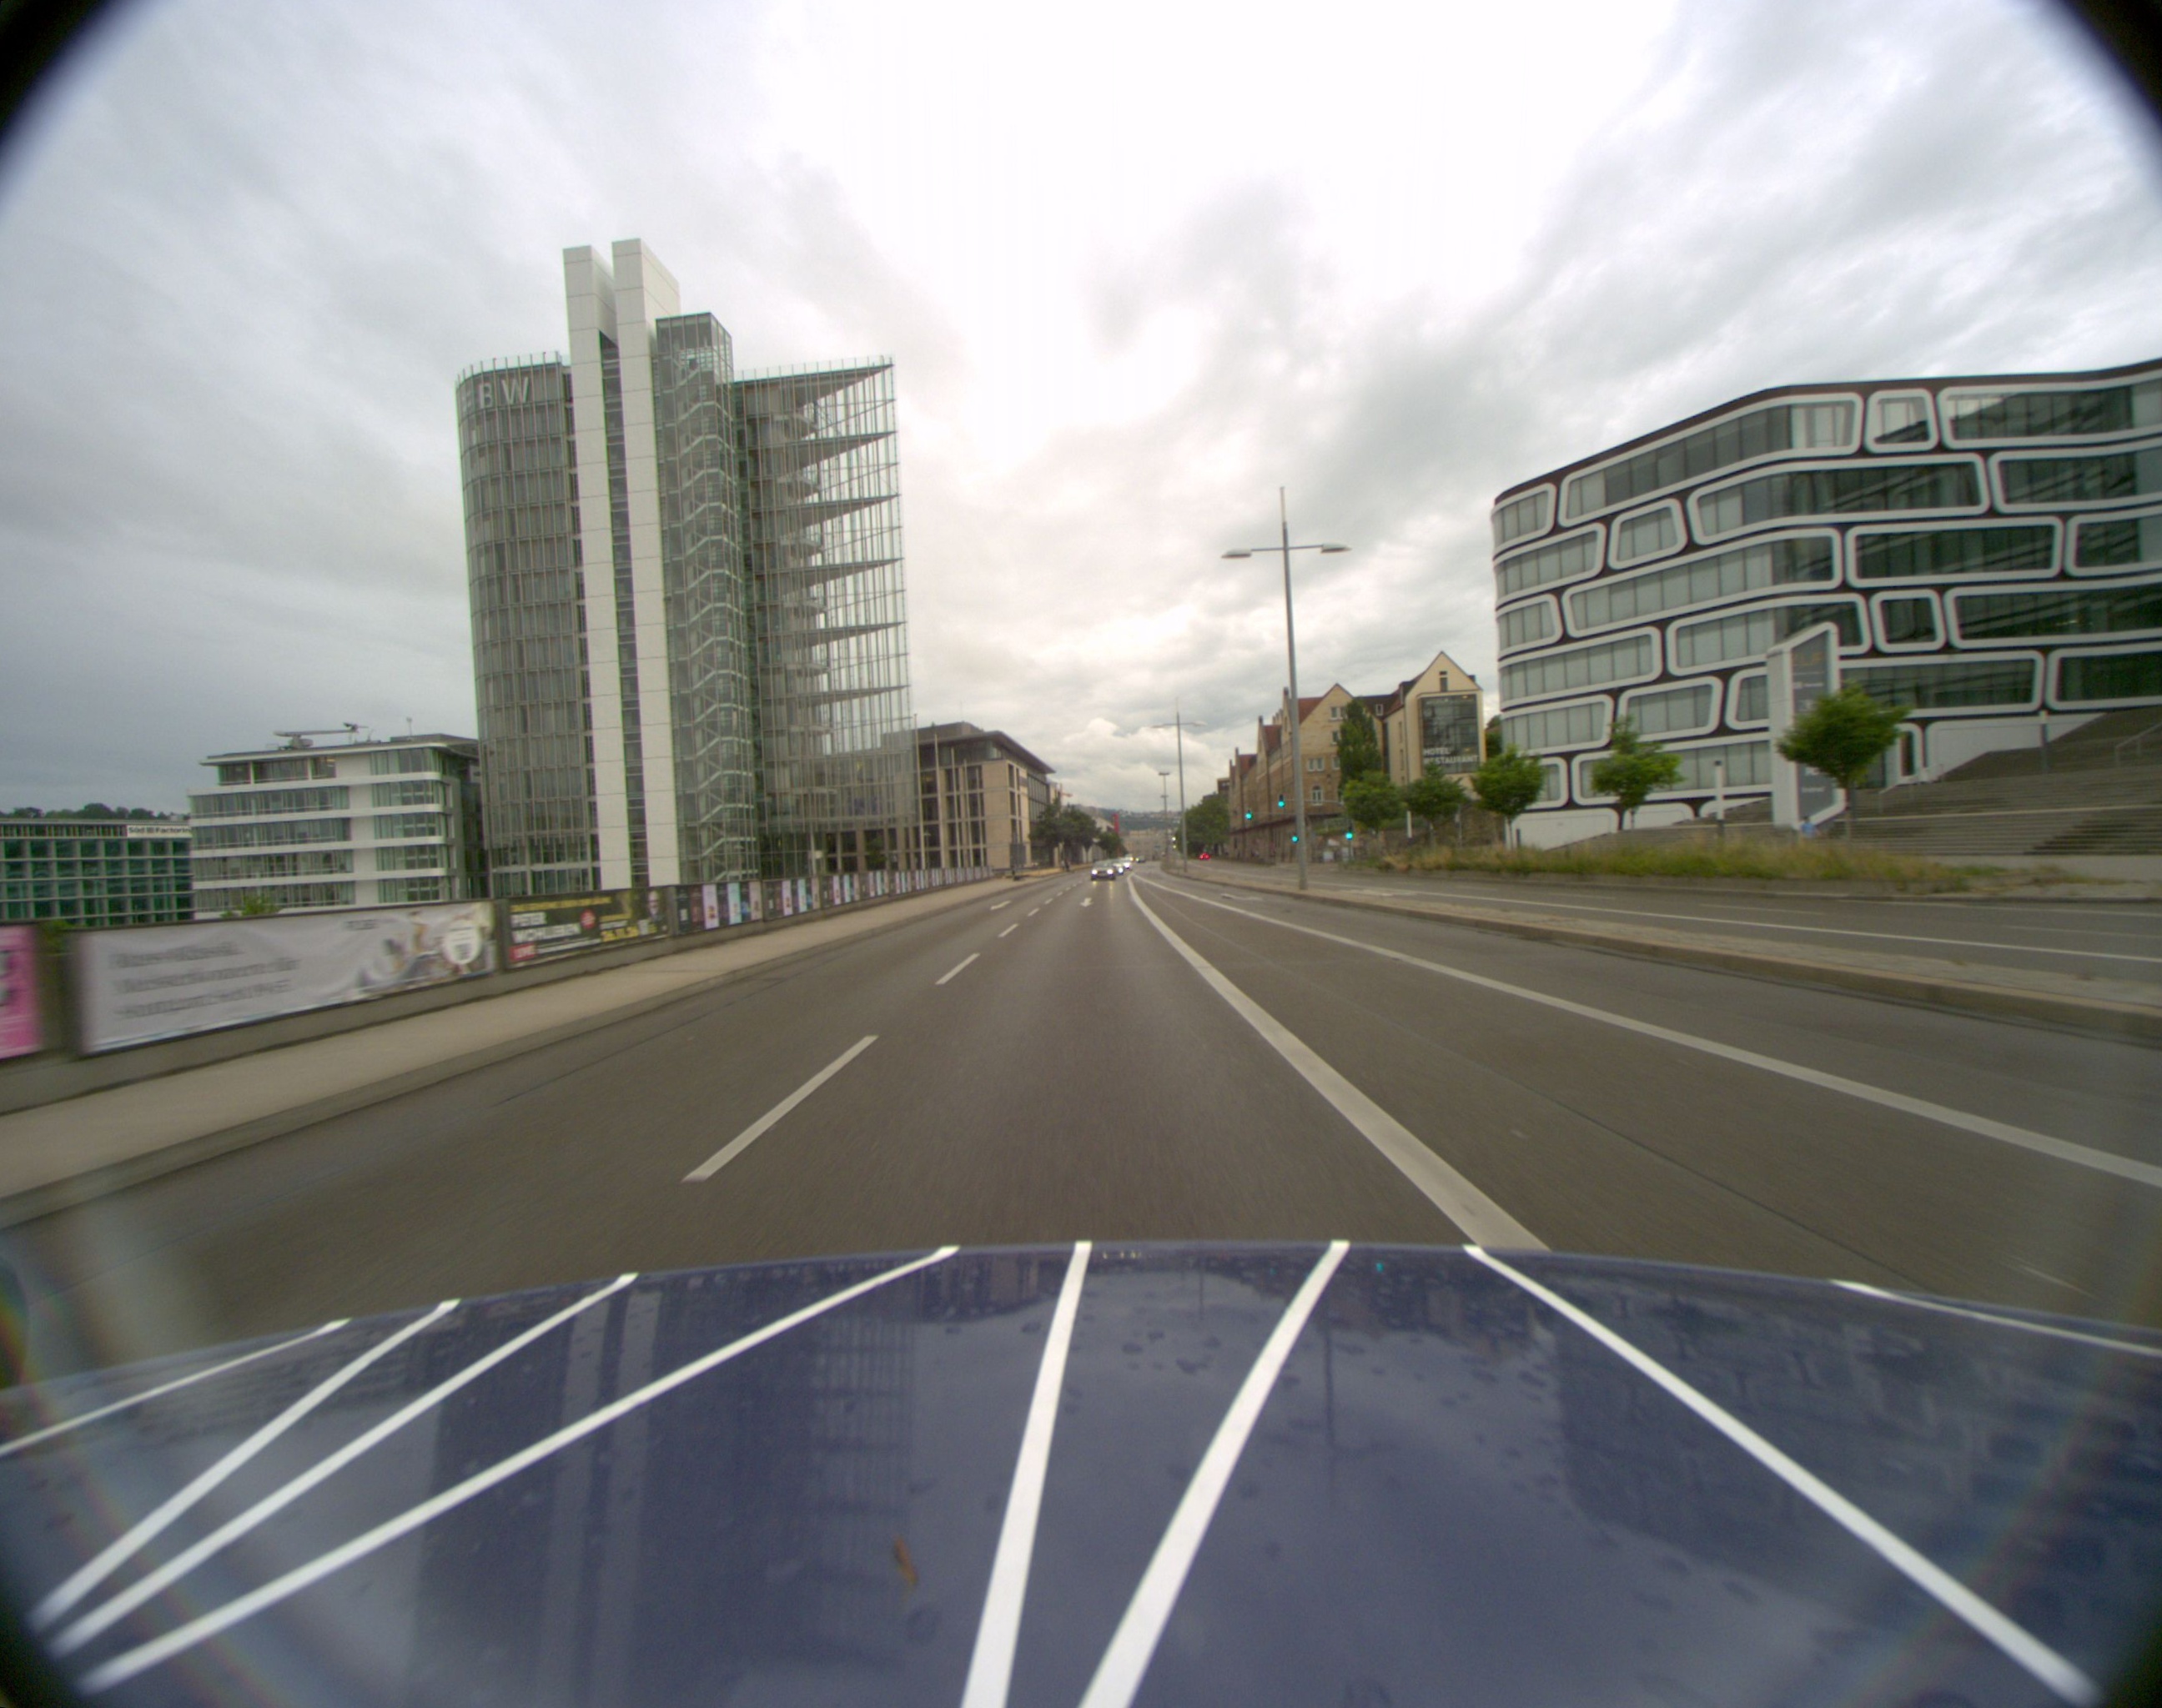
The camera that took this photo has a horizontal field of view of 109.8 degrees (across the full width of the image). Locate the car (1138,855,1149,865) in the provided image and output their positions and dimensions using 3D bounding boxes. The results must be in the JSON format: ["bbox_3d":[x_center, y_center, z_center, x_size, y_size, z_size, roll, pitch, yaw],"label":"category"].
[{"bbox_3d":[13.759,1.332,168.348,1.999,2.002,3.998,-2,1,-1],"label":"car"}]

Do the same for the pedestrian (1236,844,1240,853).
[{"bbox_3d":[30.522,-1.013,147.790,0.677,1.769,0.684,-2,2,6],"label":"pedestrian"}]

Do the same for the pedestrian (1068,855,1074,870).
[{"bbox_3d":[-1.067,0.933,83.510,0.542,1.519,0.601,-2,2,5],"label":"pedestrian"}]

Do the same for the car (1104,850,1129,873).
[{"bbox_3d":[3.351,0.674,71.646,1.999,2.002,3.998,-2,1,-1],"label":"car"}]

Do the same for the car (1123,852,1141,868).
[{"bbox_3d":[6.108,0.730,90.914,1.970,1.815,3.930,-3,-1,6],"label":"car"}]

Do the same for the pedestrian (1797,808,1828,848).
[{"bbox_3d":[29.973,-1.045,31.134,0.612,1.602,0.639,-2,2,3],"label":"pedestrian"}]

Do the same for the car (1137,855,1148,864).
[{"bbox_3d":[14.575,1.303,180.783,1.999,2.002,3.998,-2,1,-1],"label":"car"}]

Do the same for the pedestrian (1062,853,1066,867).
[{"bbox_3d":[-1.845,0.657,82.854,0.461,1.590,0.656,-2,2,-1],"label":"pedestrian"}]

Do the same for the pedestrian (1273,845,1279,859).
[{"bbox_3d":[26.269,-0.272,102.238,0.677,1.769,0.684,-2,2,6],"label":"pedestrian"}]

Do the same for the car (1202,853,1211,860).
[{"bbox_3d":[29.418,0.565,178.288,1.714,1.455,4.002,-3,0,6],"label":"car"}]

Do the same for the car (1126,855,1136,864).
[{"bbox_3d":[12.464,1.449,189.013,1.999,2.002,3.998,-2,1,-1],"label":"car"}]

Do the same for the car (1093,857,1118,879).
[{"bbox_3d":[1.772,0.989,55.564,1.684,1.379,3.475,-2,1,-1],"label":"car"}]

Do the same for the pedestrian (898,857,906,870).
[{"bbox_3d":[-23.963,1.289,101.773,0.634,1.735,0.635,-1,2,26],"label":"pedestrian"}]

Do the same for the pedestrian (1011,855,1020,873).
[{"bbox_3d":[-5.963,0.880,69.488,0.660,1.601,0.547,-3,0,6],"label":"pedestrian"}]

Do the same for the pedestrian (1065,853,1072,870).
[{"bbox_3d":[-1.379,0.834,84.545,0.728,1.761,0.783,-2,2,-1],"label":"pedestrian"}]

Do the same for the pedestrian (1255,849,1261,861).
[{"bbox_3d":[26.936,0.189,115.658,0.677,1.769,0.684,-2,2,6],"label":"pedestrian"}]

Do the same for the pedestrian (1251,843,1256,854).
[{"bbox_3d":[28.736,-0.874,126.378,0.677,1.769,0.684,-2,2,6],"label":"pedestrian"}]
